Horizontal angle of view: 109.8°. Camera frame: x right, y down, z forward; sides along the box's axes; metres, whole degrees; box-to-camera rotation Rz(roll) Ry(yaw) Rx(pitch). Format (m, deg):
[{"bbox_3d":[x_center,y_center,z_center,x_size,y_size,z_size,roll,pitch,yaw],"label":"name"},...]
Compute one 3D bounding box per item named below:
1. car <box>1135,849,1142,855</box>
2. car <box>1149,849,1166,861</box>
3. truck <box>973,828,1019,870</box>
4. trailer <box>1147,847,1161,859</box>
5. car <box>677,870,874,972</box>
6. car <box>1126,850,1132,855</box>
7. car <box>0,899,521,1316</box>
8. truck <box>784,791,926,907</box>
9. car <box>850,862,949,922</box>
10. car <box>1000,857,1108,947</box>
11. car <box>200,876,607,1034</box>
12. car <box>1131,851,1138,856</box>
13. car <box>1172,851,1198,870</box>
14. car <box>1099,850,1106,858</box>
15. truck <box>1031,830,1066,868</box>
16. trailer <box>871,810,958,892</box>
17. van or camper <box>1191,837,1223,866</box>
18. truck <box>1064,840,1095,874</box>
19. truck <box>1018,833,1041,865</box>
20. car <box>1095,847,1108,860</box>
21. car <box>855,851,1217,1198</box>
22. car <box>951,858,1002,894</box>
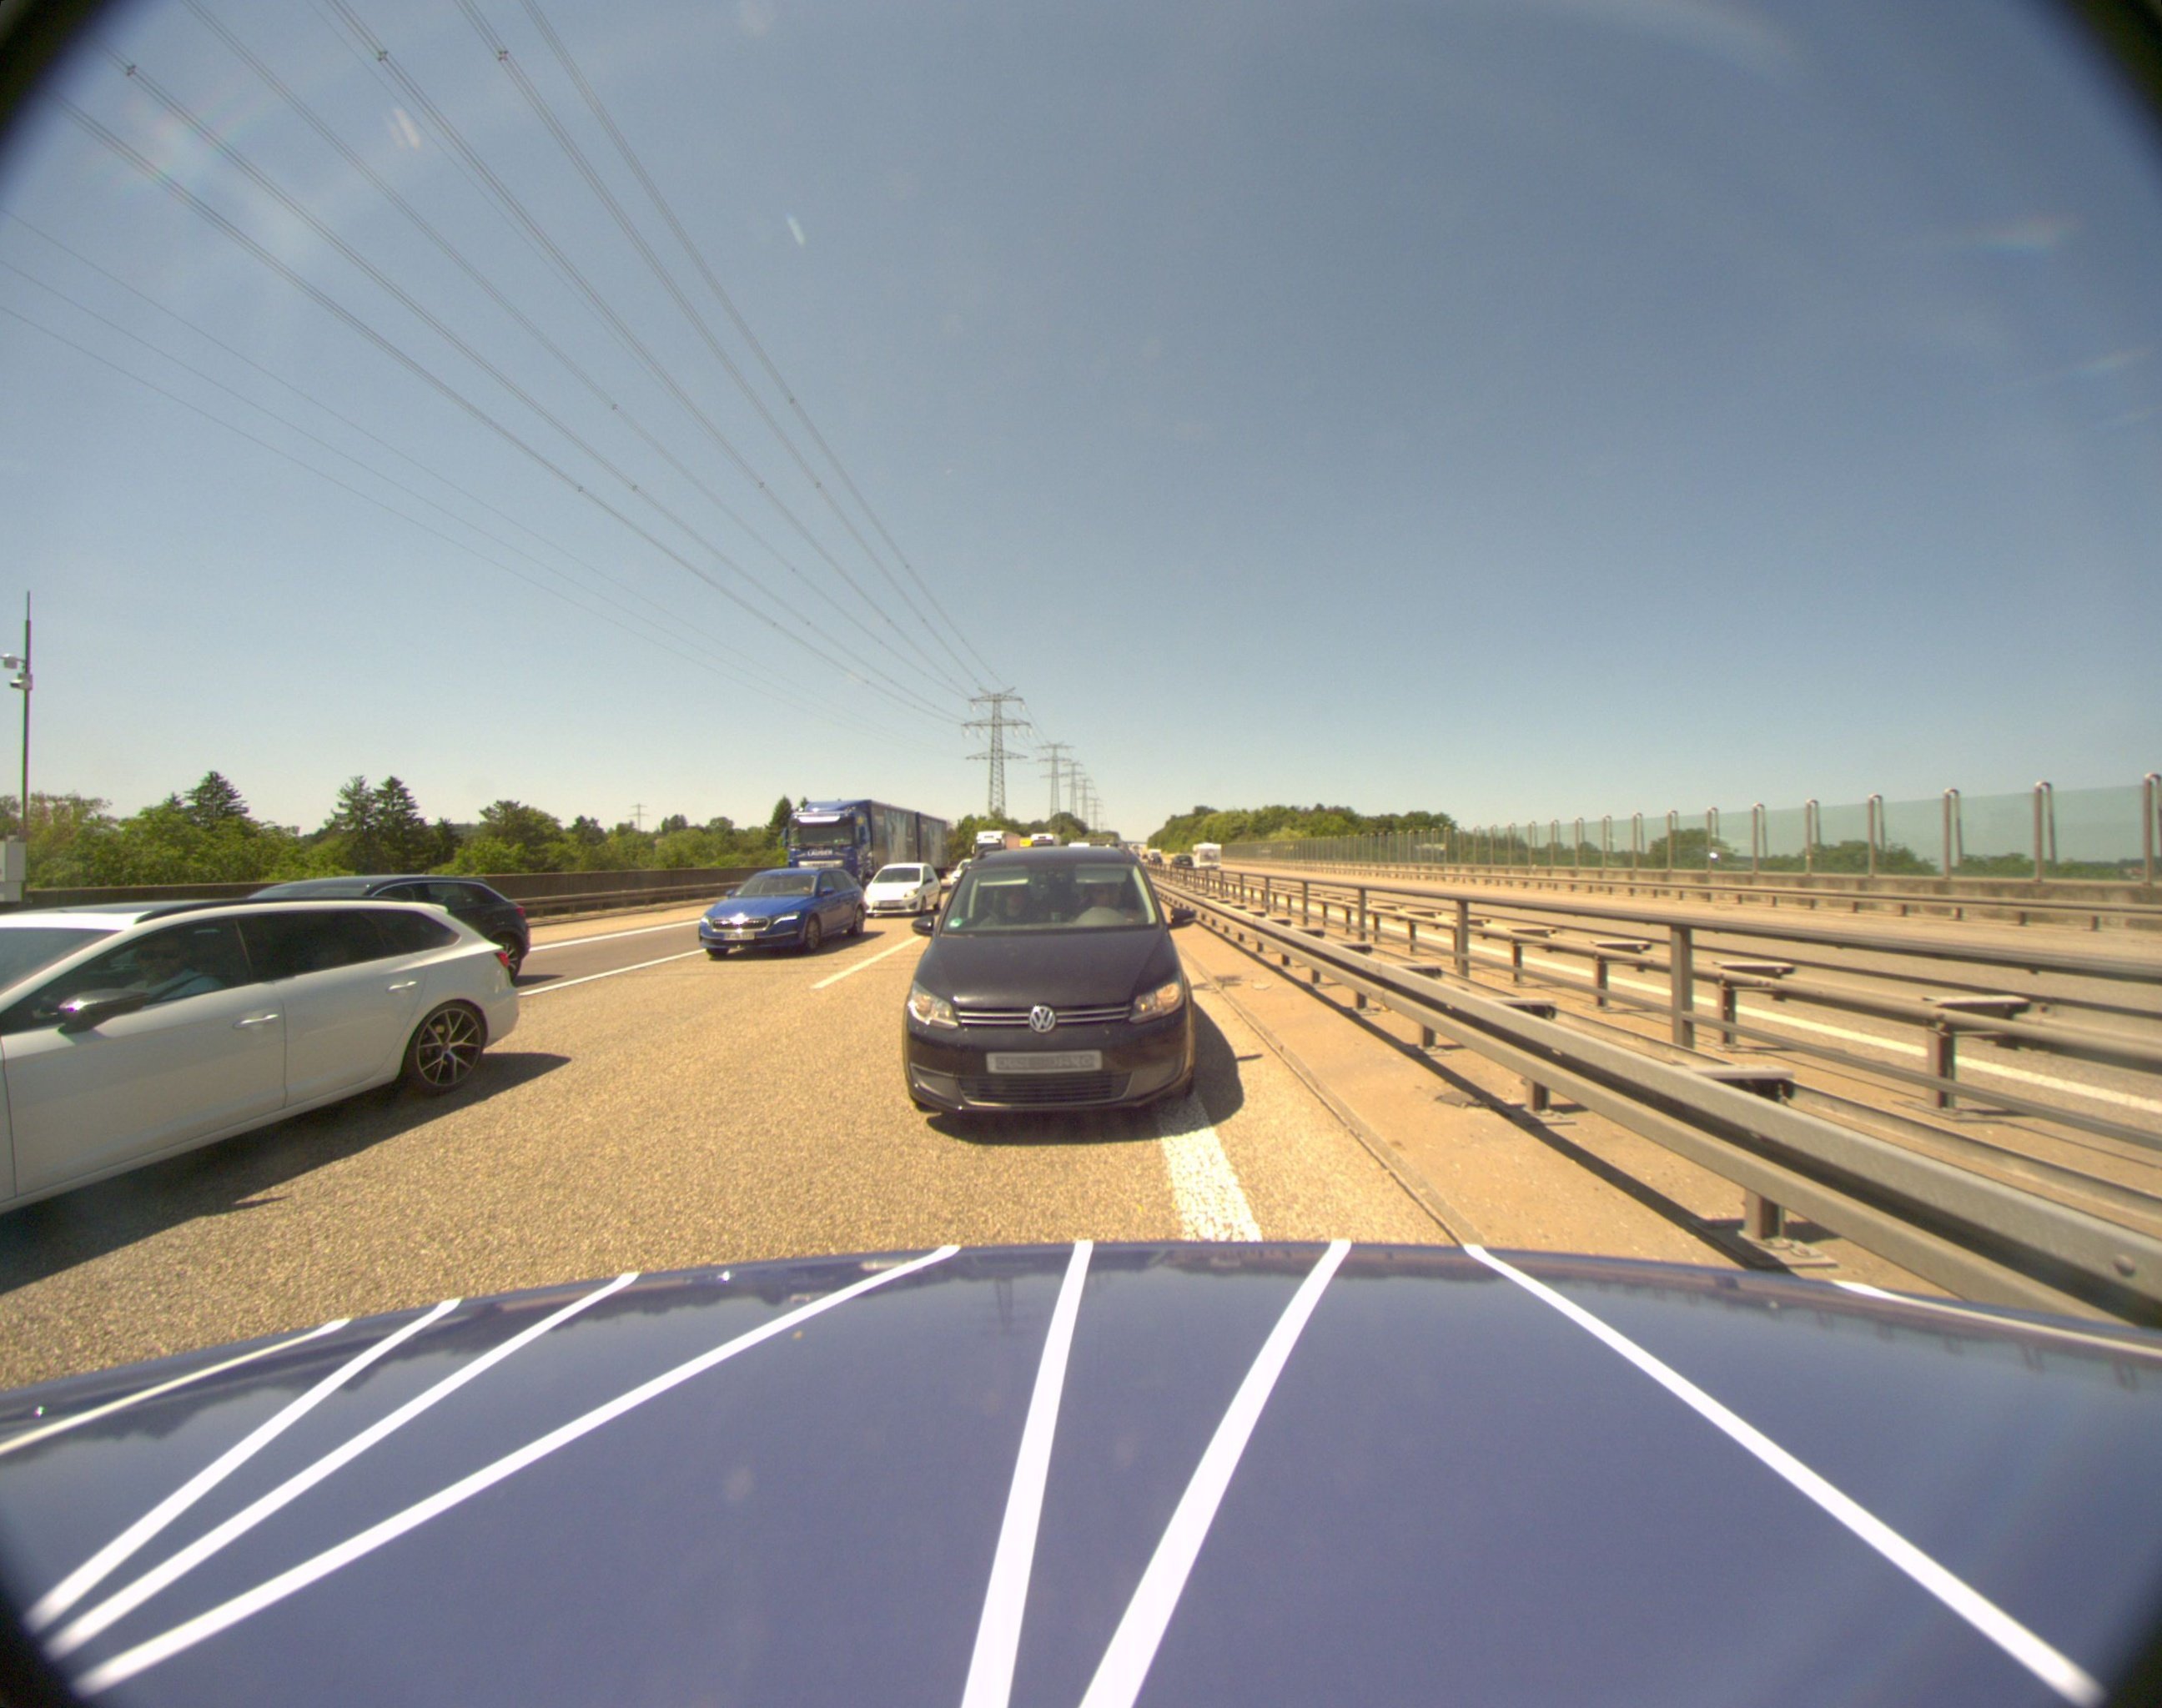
[{"bbox_3d":[19.856,-0.776,262.455,1.998,2.002,4.000,-1,0,1],"label":"car"},{"bbox_3d":[10.612,0.131,105.474,1.872,1.523,4.424,2,0,1],"label":"car"},{"bbox_3d":[-7.968,-0.483,72.681,2.985,3.538,10.967,-2,1,1],"label":"truck"},{"bbox_3d":[15.581,-0.196,162.797,2.499,2.534,6.774,1,0,1],"label":"trailer"},{"bbox_3d":[-5.332,1.091,13.938,1.739,1.437,4.211,-1,0,2],"label":"car"},{"bbox_3d":[14.839,-0.373,234.224,1.672,1.439,4.000,2,0,2],"label":"car"},{"bbox_3d":[-5.263,1.131,3.832,1.843,1.481,4.071,-2,0,-1],"label":"car"},{"bbox_3d":[-9.094,-0.181,32.192,2.529,4.043,10.447,-2,0,1],"label":"truck"},{"bbox_3d":[-5.149,1.040,22.104,1.762,1.495,4.095,-1,0,2],"label":"car"},{"bbox_3d":[-0.436,0.840,15.345,1.845,1.495,4.377,-1,0,1],"label":"car"},{"bbox_3d":[-8.656,1.166,10.326,1.740,1.518,4.106,-2,0,1],"label":"car"},{"bbox_3d":[14.373,-0.081,204.753,1.672,1.439,4.000,2,0,2],"label":"car"},{"bbox_3d":[9.876,0.605,72.491,1.872,1.690,4.430,1,0,0],"label":"car"},{"bbox_3d":[5.395,-0.027,188.995,1.805,2.002,4.000,-1,0,1],"label":"car"},{"bbox_3d":[-3.441,-0.580,82.995,2.980,3.832,10.561,-2,1,1],"label":"truck"},{"bbox_3d":[-8.904,-0.156,41.685,2.572,3.922,8.479,-2,0,1],"label":"trailer"},{"bbox_3d":[13.867,-0.301,84.217,2.428,3.006,7.026,1,0,1],"label":"van or camper"},{"bbox_3d":[-0.058,0.174,59.959,2.284,2.479,5.861,-2,0,1],"label":"truck"},{"bbox_3d":[-7.063,-0.698,105.311,2.346,4.058,8.278,-2,1,1],"label":"truck"},{"bbox_3d":[3.395,-0.131,127.967,1.998,2.002,4.000,-2,1,1],"label":"car"},{"bbox_3d":[-0.209,0.843,5.778,1.740,1.652,3.999,-2,1,0],"label":"car"},{"bbox_3d":[-4.679,0.952,34.519,1.763,1.495,4.094,-1,0,0],"label":"car"}]
